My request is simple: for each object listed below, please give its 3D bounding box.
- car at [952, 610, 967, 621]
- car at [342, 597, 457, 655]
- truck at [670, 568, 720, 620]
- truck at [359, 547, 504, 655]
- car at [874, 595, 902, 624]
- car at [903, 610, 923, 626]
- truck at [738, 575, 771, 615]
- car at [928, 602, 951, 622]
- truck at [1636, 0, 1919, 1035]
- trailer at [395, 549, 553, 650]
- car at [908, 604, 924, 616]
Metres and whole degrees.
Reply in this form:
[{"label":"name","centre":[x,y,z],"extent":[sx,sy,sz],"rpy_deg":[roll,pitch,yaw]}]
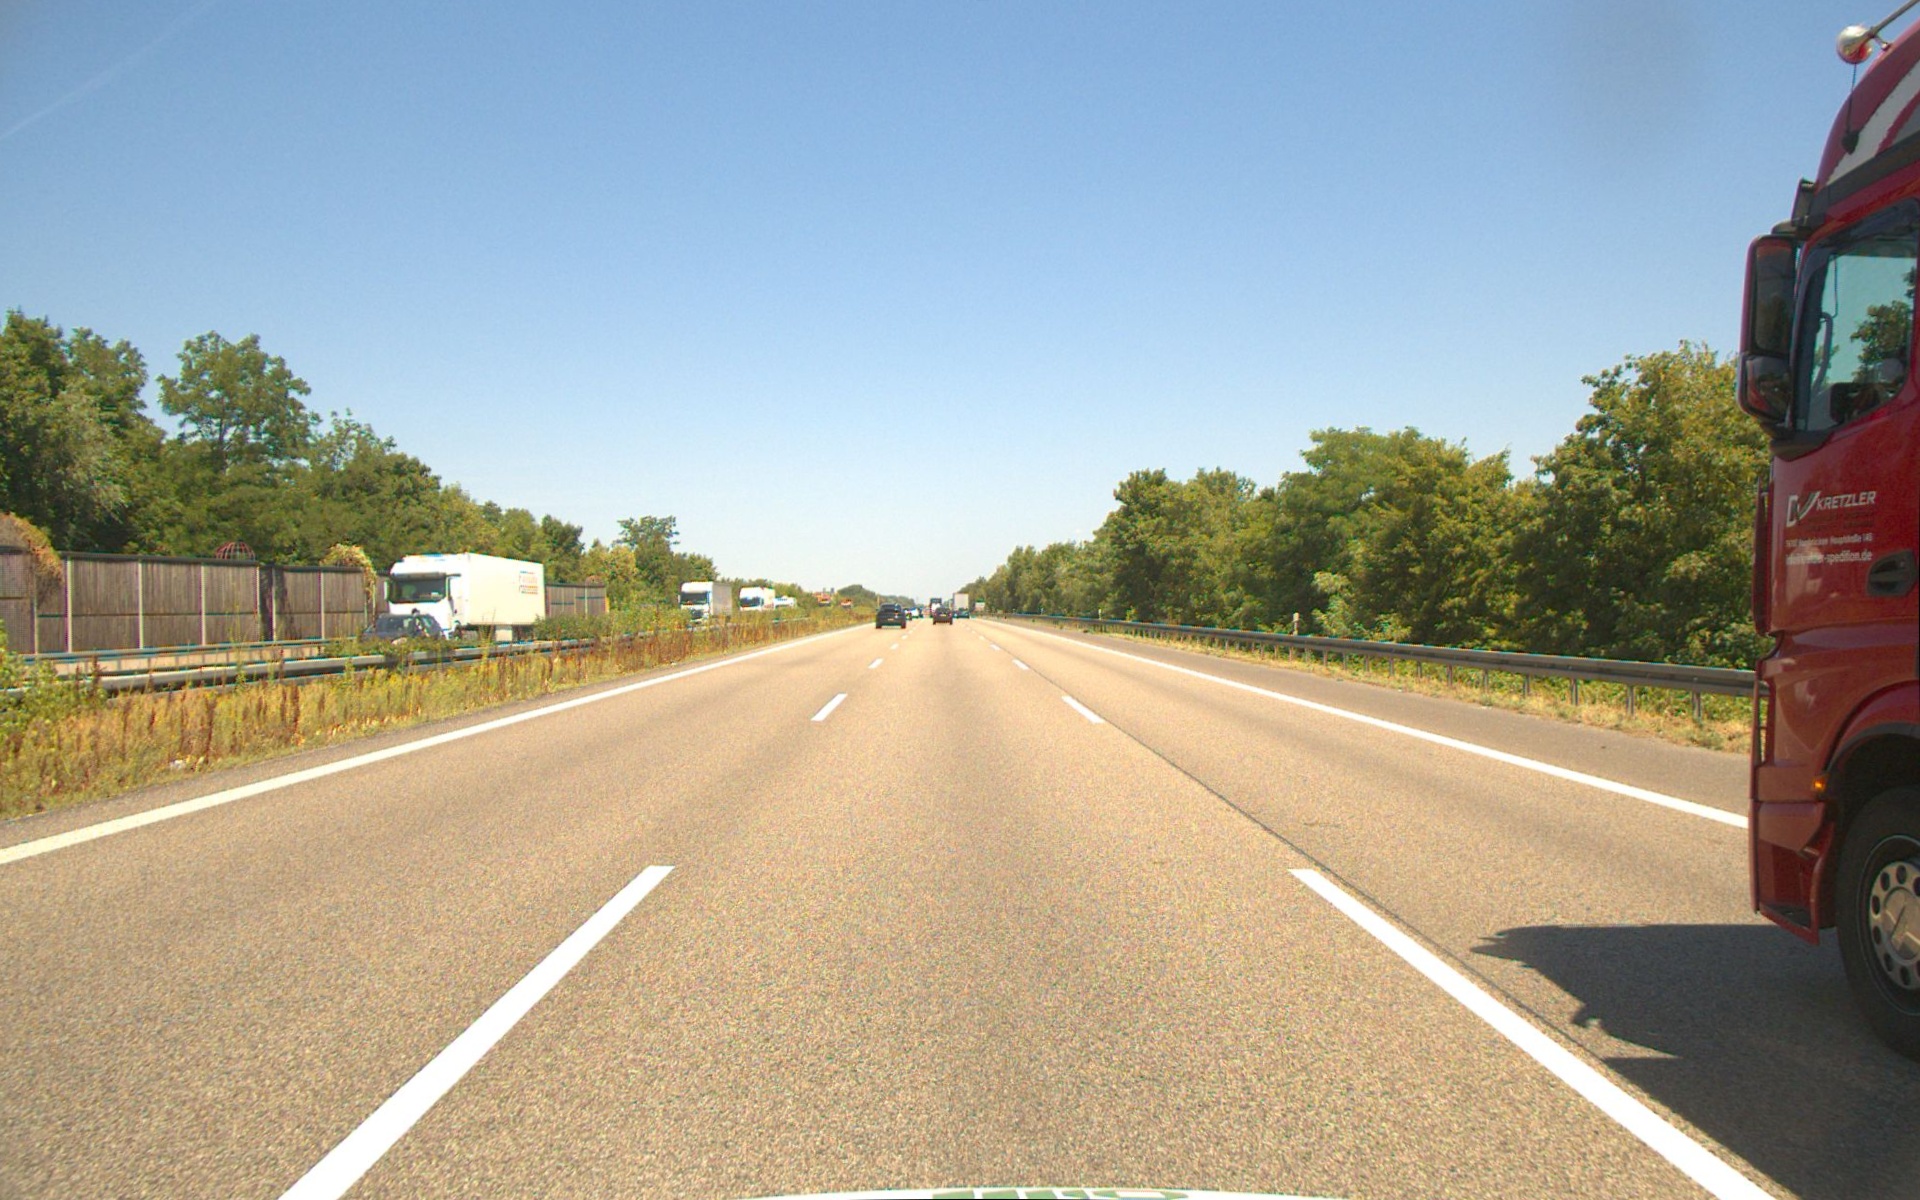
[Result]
[{"label":"car","centre":[-0.102,2.287,245.815],"extent":[2.085,1.611,4.303],"rpy_deg":[-1,0,0]},{"label":"car","centre":[-16.964,0.750,50.292],"extent":[1.953,1.624,4.505],"rpy_deg":[-1,0,-1]},{"label":"truck","centre":[-23.245,-0.500,145.456],"extent":[3.152,4.517,7.869],"rpy_deg":[0,0,-1]},{"label":"truck","centre":[-21.886,0.045,69.038],"extent":[3.509,4.175,7.837],"rpy_deg":[-1,0,-1]},{"label":"car","centre":[-4.781,0.631,109.875],"extent":[1.842,1.823,3.999],"rpy_deg":[0,1,-2]},{"label":"car","centre":[-5.132,1.950,179.835],"extent":[2.085,1.674,4.303],"rpy_deg":[-1,0,0]},{"label":"truck","centre":[-22.786,-0.560,183.659],"extent":[2.784,4.280,7.713],"rpy_deg":[0,0,-1]},{"label":"car","centre":[-1.695,0.973,138.880],"extent":[1.864,1.611,4.303],"rpy_deg":[-1,0,0]},{"label":"truck","centre":[4.761,-1.039,4.246],"extent":[3.168,4.974,6.971],"rpy_deg":[0,0,0]},{"label":"trailer","centre":[-21.999,-0.019,75.956],"extent":[3.537,4.175,12.794],"rpy_deg":[-1,0,-1]},{"label":"car","centre":[-6.302,1.396,236.106],"extent":[2.085,1.674,4.303],"rpy_deg":[-1,0,0]}]
